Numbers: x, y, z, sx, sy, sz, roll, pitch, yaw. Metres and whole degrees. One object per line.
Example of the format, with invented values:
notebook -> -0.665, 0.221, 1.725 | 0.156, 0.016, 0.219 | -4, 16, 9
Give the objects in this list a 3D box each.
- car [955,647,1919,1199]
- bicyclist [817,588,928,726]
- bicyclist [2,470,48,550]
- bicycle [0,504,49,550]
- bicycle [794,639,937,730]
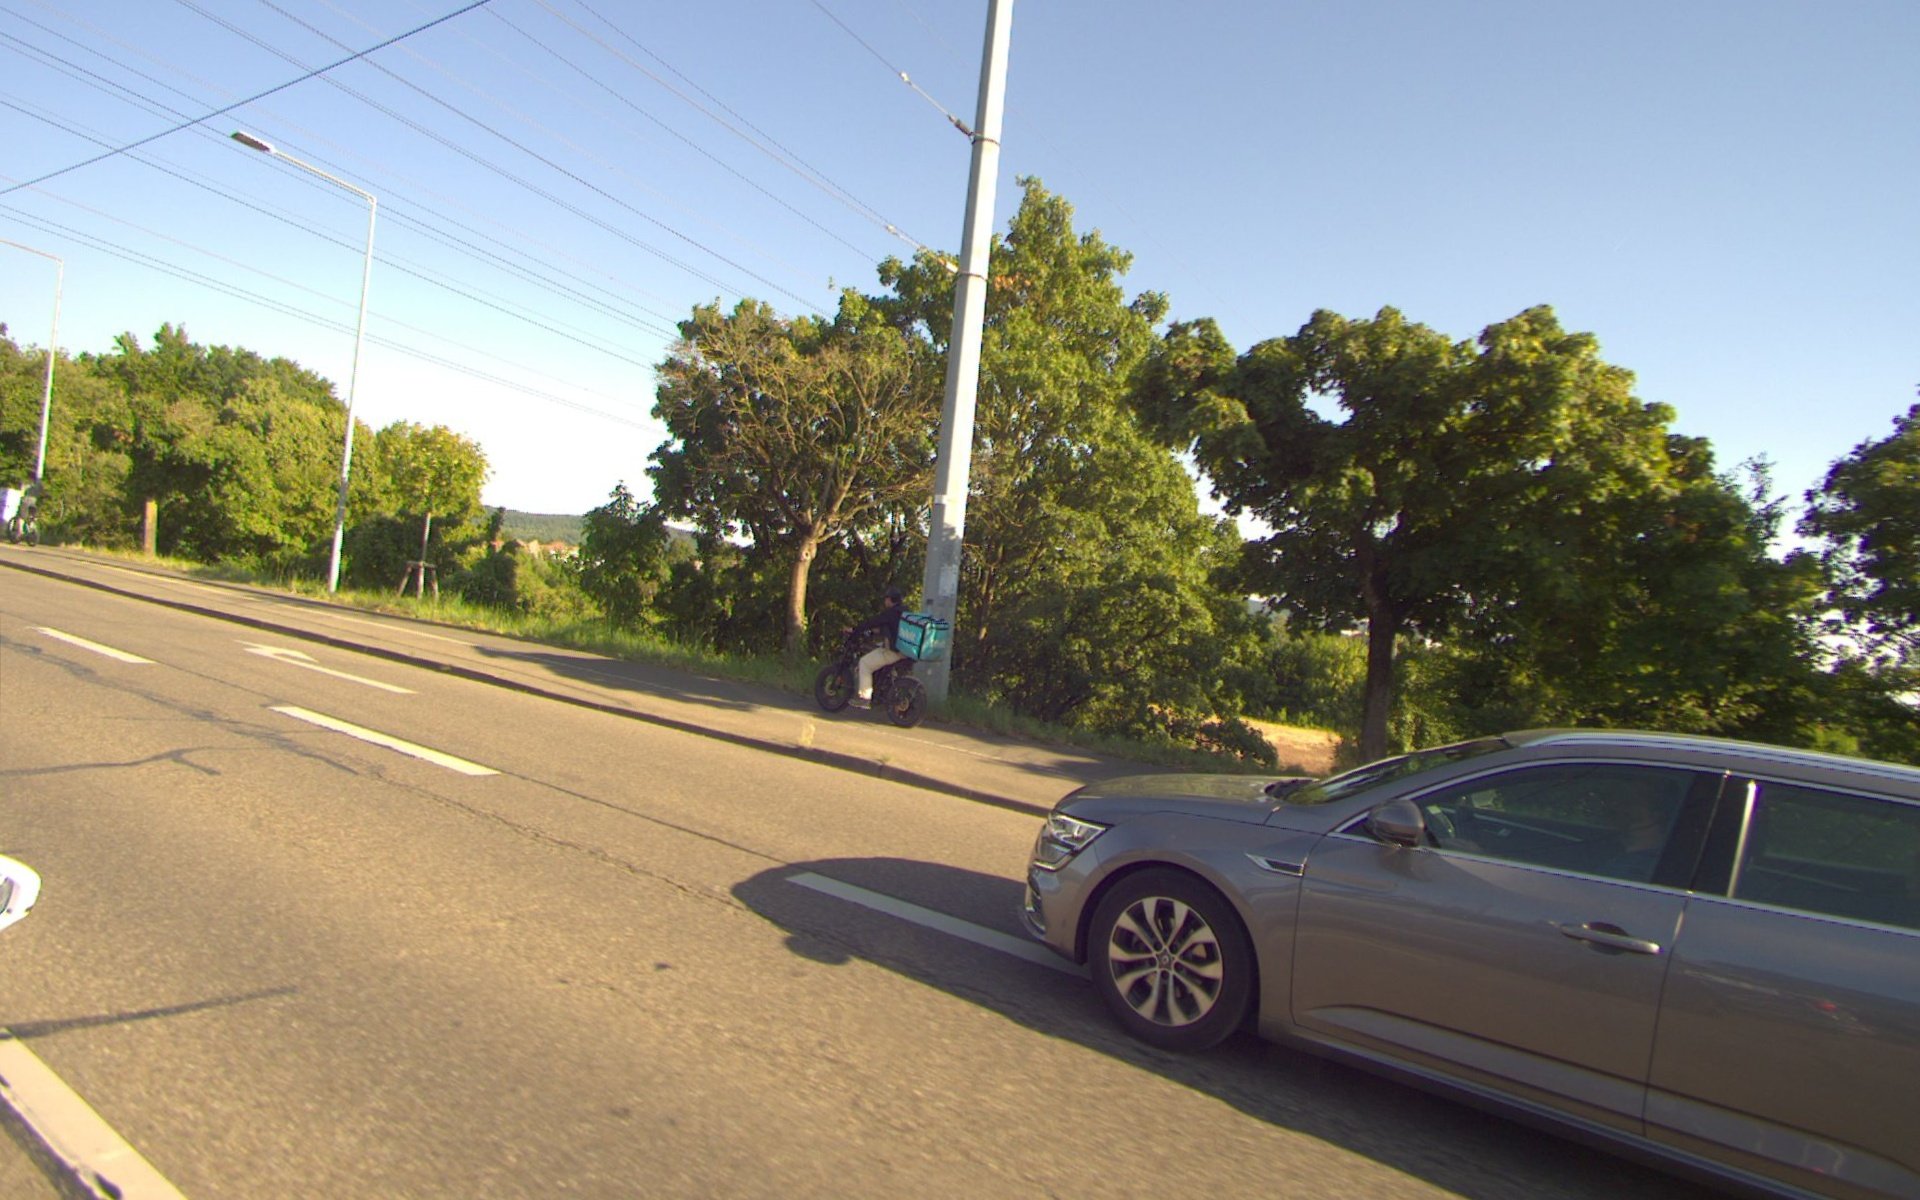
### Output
car -> 2.458, 1.208, 3.797 | 4.585, 1.460, 1.879 | 6, -2, 34
bicyclist -> -1.042, 0.655, 11.949 | 1.043, 1.491, 0.626 | 6, 3, 32
bicyclist -> -25.088, -2.428, 27.005 | 0.717, 2.040, 0.528 | 6, -2, 33
bicycle -> -25.302, -1.968, 27.111 | 1.939, 1.072, 0.528 | 6, -2, 33
bicycle -> -1.143, 0.976, 12.022 | 1.608, 0.845, 0.626 | 6, 3, 32
